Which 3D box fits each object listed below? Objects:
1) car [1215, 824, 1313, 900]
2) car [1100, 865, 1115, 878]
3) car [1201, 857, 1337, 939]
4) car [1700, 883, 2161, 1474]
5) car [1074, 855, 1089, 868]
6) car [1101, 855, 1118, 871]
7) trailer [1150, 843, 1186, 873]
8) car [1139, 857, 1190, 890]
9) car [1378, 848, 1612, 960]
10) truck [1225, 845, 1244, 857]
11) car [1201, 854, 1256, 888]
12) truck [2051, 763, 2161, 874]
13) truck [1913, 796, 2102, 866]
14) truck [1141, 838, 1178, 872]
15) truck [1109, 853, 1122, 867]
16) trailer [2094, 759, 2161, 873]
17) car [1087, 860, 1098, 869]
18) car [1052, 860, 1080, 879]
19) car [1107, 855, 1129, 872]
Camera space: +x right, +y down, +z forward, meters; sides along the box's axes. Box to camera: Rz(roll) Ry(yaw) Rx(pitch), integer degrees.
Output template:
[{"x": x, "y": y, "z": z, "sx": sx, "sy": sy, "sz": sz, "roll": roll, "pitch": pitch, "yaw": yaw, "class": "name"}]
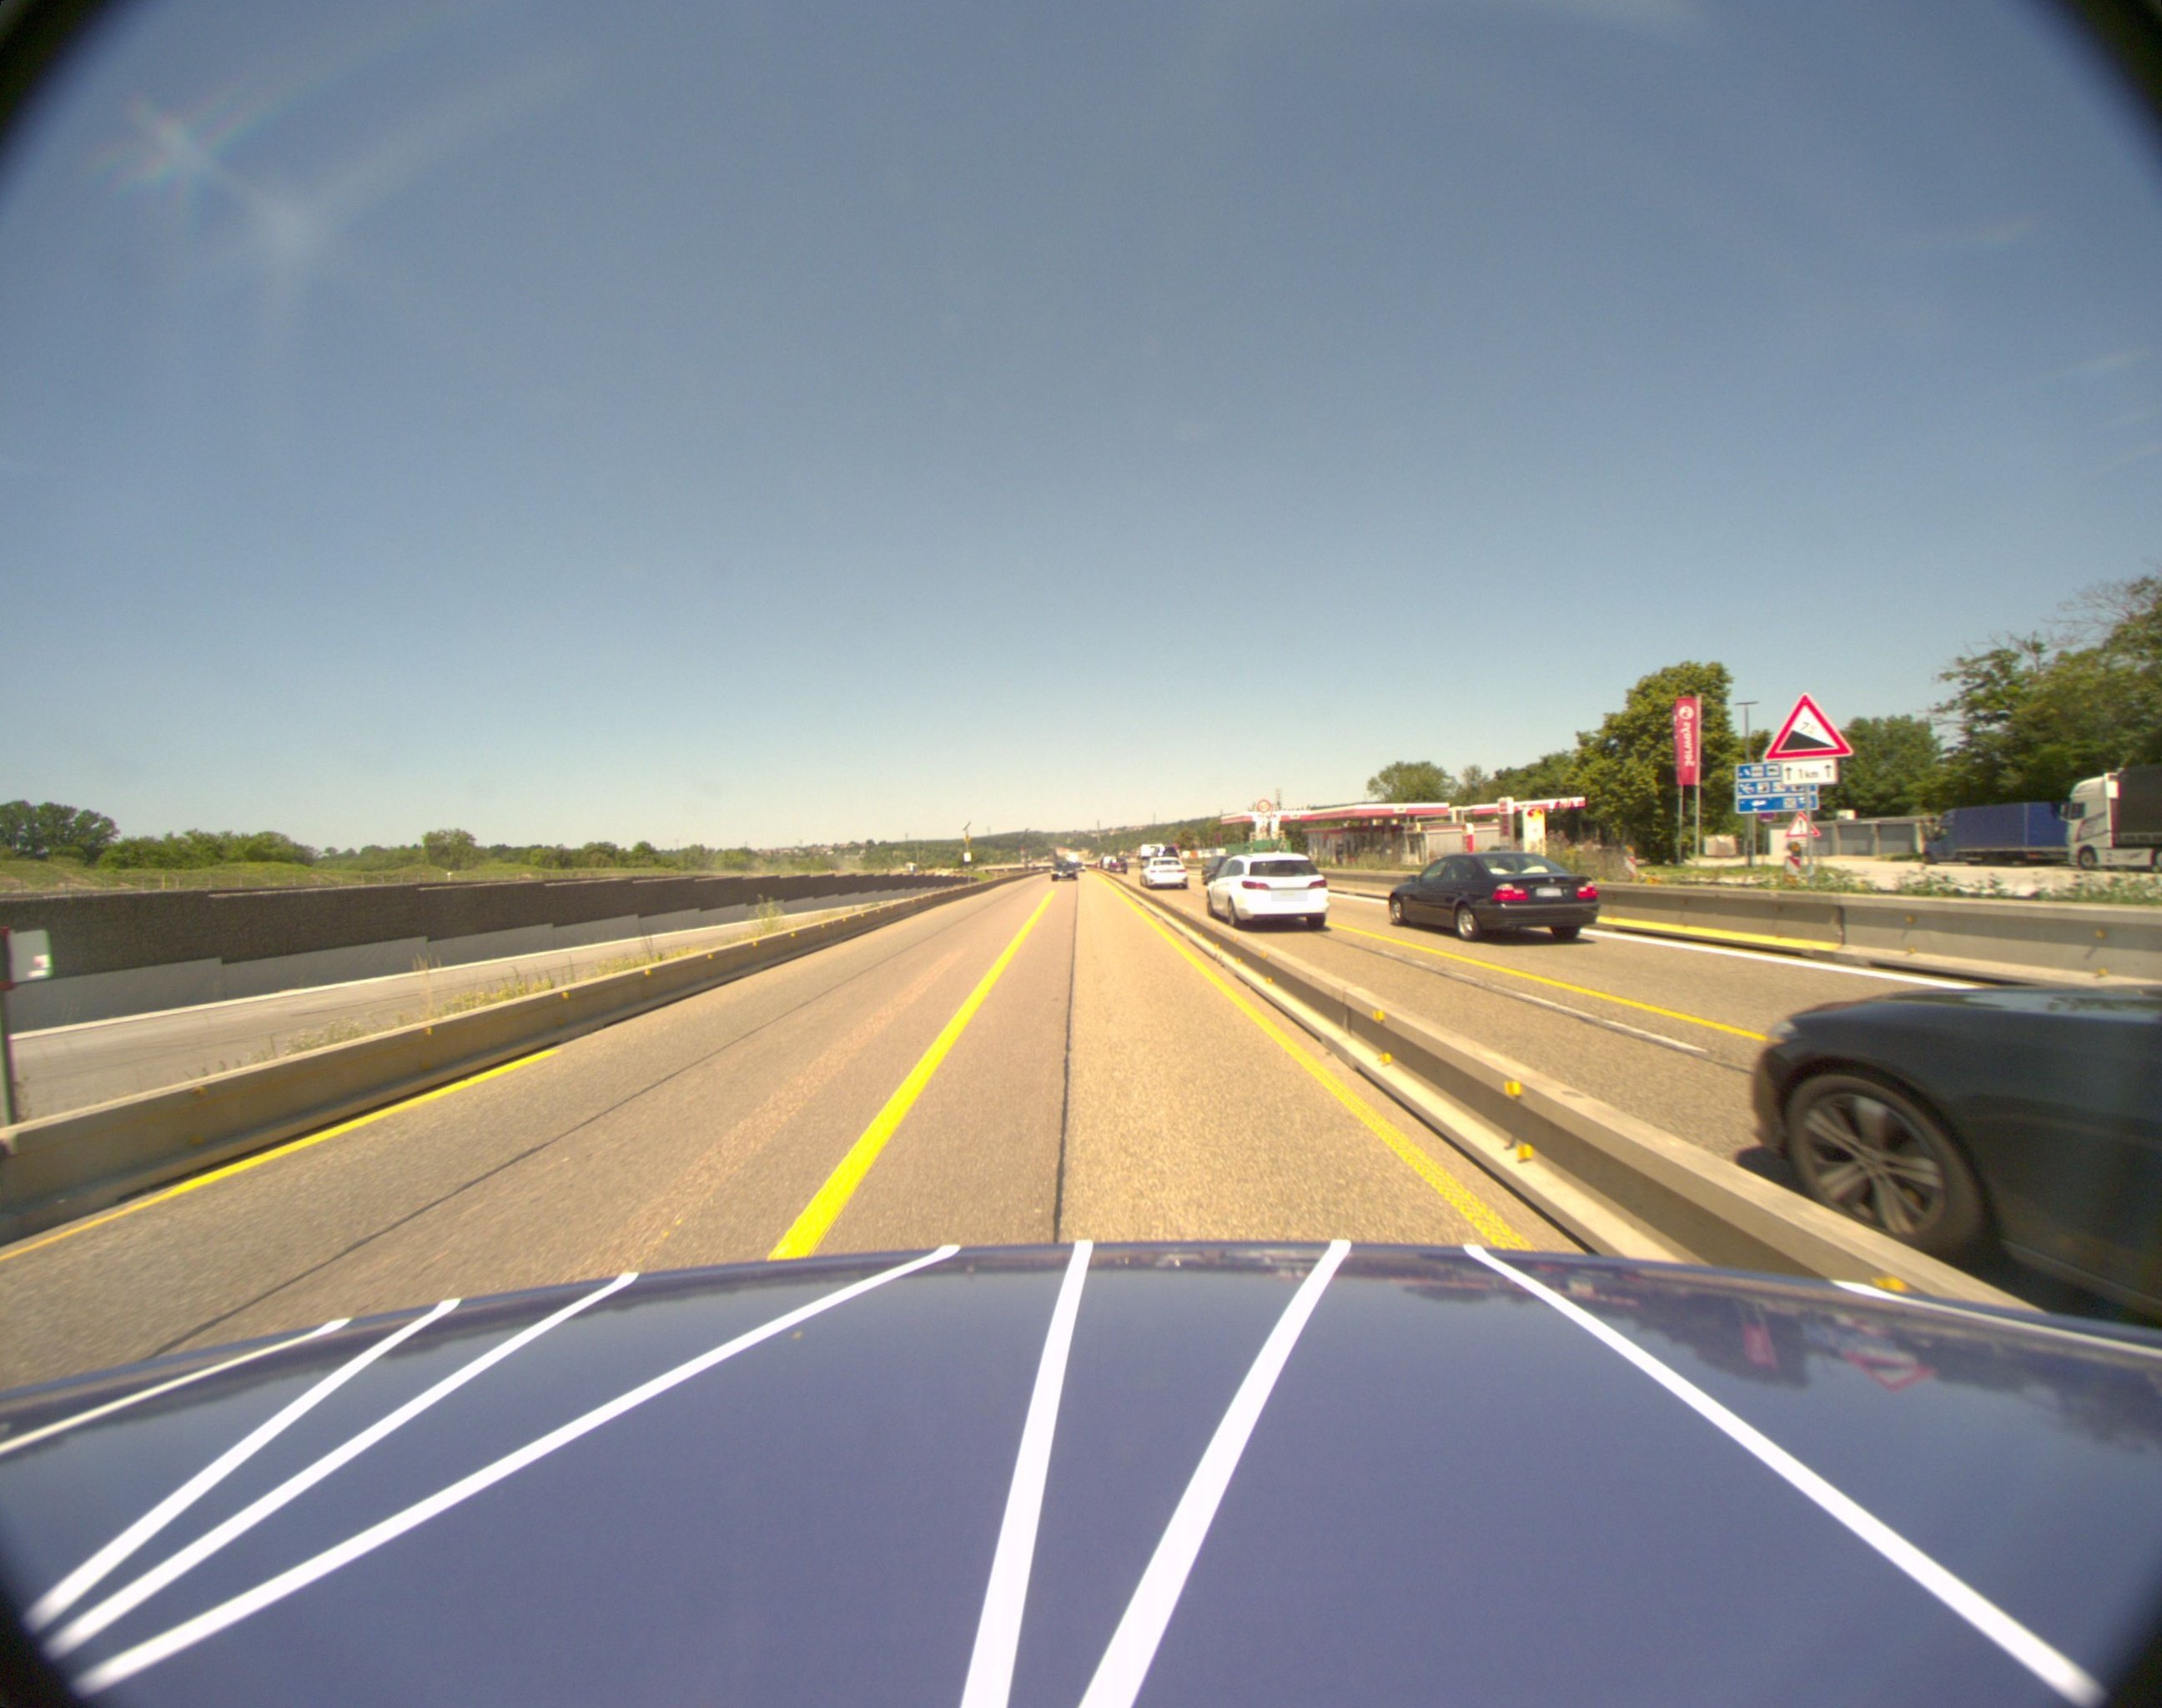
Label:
[{"x": 6.813, "y": 0.302, "z": 29.115, "sx": 1.919, "sy": 2.384, "sz": 6.452, "roll": -6, "pitch": 0, "yaw": -1, "class": "car"}, {"x": 3.838, "y": 2.491, "z": 110.470, "sx": 1.912, "sy": 1.794, "sz": 5.082, "roll": -2, "pitch": -1, "yaw": 0, "class": "car"}, {"x": 3.762, "y": 0.813, "z": 16.007, "sx": 1.738, "sy": 1.469, "sz": 4.520, "roll": -1, "pitch": 0, "yaw": 0, "class": "car"}, {"x": 3.619, "y": 0.843, "z": 0.958, "sx": 1.778, "sy": 1.419, "sz": 4.770, "roll": -1, "pitch": 0, "yaw": 0, "class": "car"}, {"x": 0.052, "y": 1.096, "z": 107.607, "sx": 1.818, "sy": 1.652, "sz": 3.999, "roll": -5, "pitch": 0, "yaw": -2, "class": "car"}, {"x": 3.549, "y": 1.117, "z": 94.373, "sx": 1.858, "sy": 1.828, "sz": 4.591, "roll": -2, "pitch": -1, "yaw": 0, "class": "car"}, {"x": 6.991, "y": 0.335, "z": 61.808, "sx": 2.187, "sy": 2.300, "sz": 5.614, "roll": -2, "pitch": -1, "yaw": 0, "class": "trailer"}, {"x": 3.731, "y": 0.844, "z": 34.511, "sx": 1.821, "sy": 1.368, "sz": 4.247, "roll": -1, "pitch": 0, "yaw": -1, "class": "car"}, {"x": 6.757, "y": 0.736, "z": 12.962, "sx": 1.771, "sy": 1.588, "sz": 4.000, "roll": -1, "pitch": 0, "yaw": -1, "class": "car"}, {"x": 51.986, "y": -1.121, "z": 257.362, "sx": 5.724, "sy": 3.596, "sz": 2.585, "roll": -6, "pitch": -1, "yaw": 41, "class": "truck"}, {"x": 6.809, "y": 0.757, "z": 35.515, "sx": 1.692, "sy": 1.444, "sz": 4.335, "roll": -1, "pitch": -1, "yaw": -1, "class": "car"}, {"x": 41.361, "y": -1.340, "z": 28.860, "sx": 3.152, "sy": 3.962, "sz": 6.358, "roll": -1, "pitch": 0, "yaw": 27, "class": "truck"}, {"x": 45.469, "y": -1.056, "z": 37.674, "sx": 2.822, "sy": 3.045, "sz": 7.132, "roll": -1, "pitch": 0, "yaw": 22, "class": "truck"}, {"x": 6.980, "y": 0.141, "z": 68.688, "sx": 2.486, "sy": 2.807, "sz": 8.129, "roll": -2, "pitch": 0, "yaw": 0, "class": "truck"}, {"x": 7.224, "y": 1.181, "z": 157.938, "sx": 2.245, "sy": 2.769, "sz": 6.493, "roll": -2, "pitch": -1, "yaw": -1, "class": "truck"}, {"x": 38.497, "y": -1.358, "z": 23.187, "sx": 3.152, "sy": 4.087, "sz": 14.188, "roll": -1, "pitch": 0, "yaw": 27, "class": "trailer"}, {"x": 2.085, "y": 2.011, "z": 142.774, "sx": 1.860, "sy": 1.594, "sz": 4.736, "roll": -2, "pitch": -1, "yaw": 0, "class": "car"}, {"x": -0.993, "y": 1.097, "z": 53.599, "sx": 1.810, "sy": 1.299, "sz": 4.001, "roll": -1, "pitch": -1, "yaw": 1, "class": "car"}, {"x": 3.553, "y": 0.926, "z": 73.219, "sx": 1.909, "sy": 1.599, "sz": 4.001, "roll": -2, "pitch": -1, "yaw": 0, "class": "car"}]
